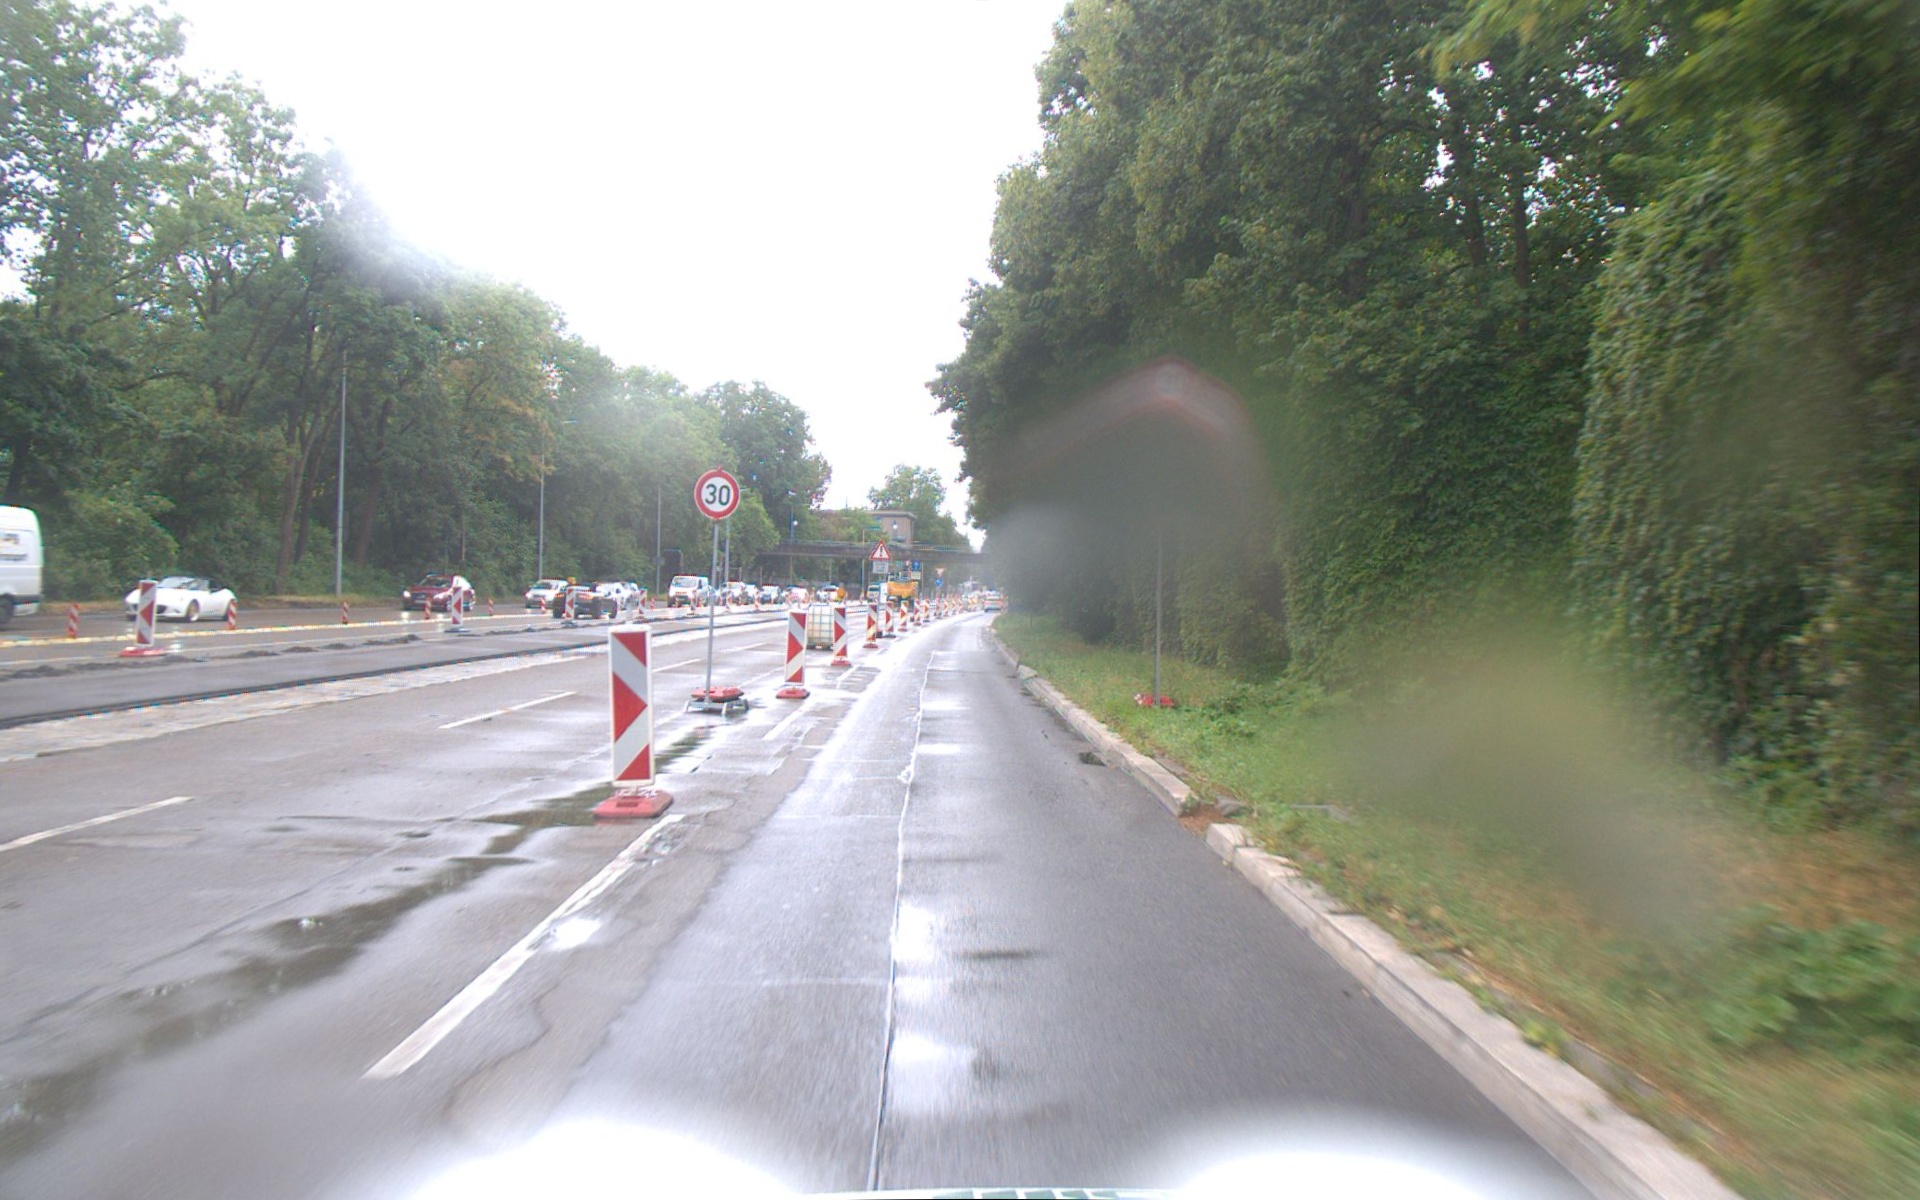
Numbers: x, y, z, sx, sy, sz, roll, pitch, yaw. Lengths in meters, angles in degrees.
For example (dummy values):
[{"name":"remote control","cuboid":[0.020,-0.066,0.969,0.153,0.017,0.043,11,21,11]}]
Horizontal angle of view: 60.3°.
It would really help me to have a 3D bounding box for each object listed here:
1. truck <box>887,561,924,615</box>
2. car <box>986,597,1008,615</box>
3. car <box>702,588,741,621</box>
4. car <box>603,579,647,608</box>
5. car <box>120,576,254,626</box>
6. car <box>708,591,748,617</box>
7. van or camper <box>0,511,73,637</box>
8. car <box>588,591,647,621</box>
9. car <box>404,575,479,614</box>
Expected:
[{"name":"truck","cuboid":[-4.540,-0.988,139.736,2.839,4.333,10.753,3,0,-1]},{"name":"car","cuboid":[3.600,0.581,159.345,1.952,1.668,4.002,1,0,4]},{"name":"car","cuboid":[-15.424,0.261,107.125,1.954,2.006,4.900,2,0,-3]},{"name":"car","cuboid":[-20.362,-0.380,100.702,1.790,1.650,4.000,3,0,0]},{"name":"car","cuboid":[-21.033,0.027,45.162,1.654,1.203,4.000,3,0,1]},{"name":"car","cuboid":[-17.181,0.293,122.538,1.979,1.755,5.014,3,0,3]},{"name":"van or camper","cuboid":[-20.804,-0.593,33.000,1.953,2.599,7.729,3,0,0]},{"name":"car","cuboid":[-17.158,0.305,83.047,1.952,1.440,4.393,1,0,1]},{"name":"car","cuboid":[-21.214,-0.214,67.800,1.694,1.502,4.486,1,0,-1]}]
